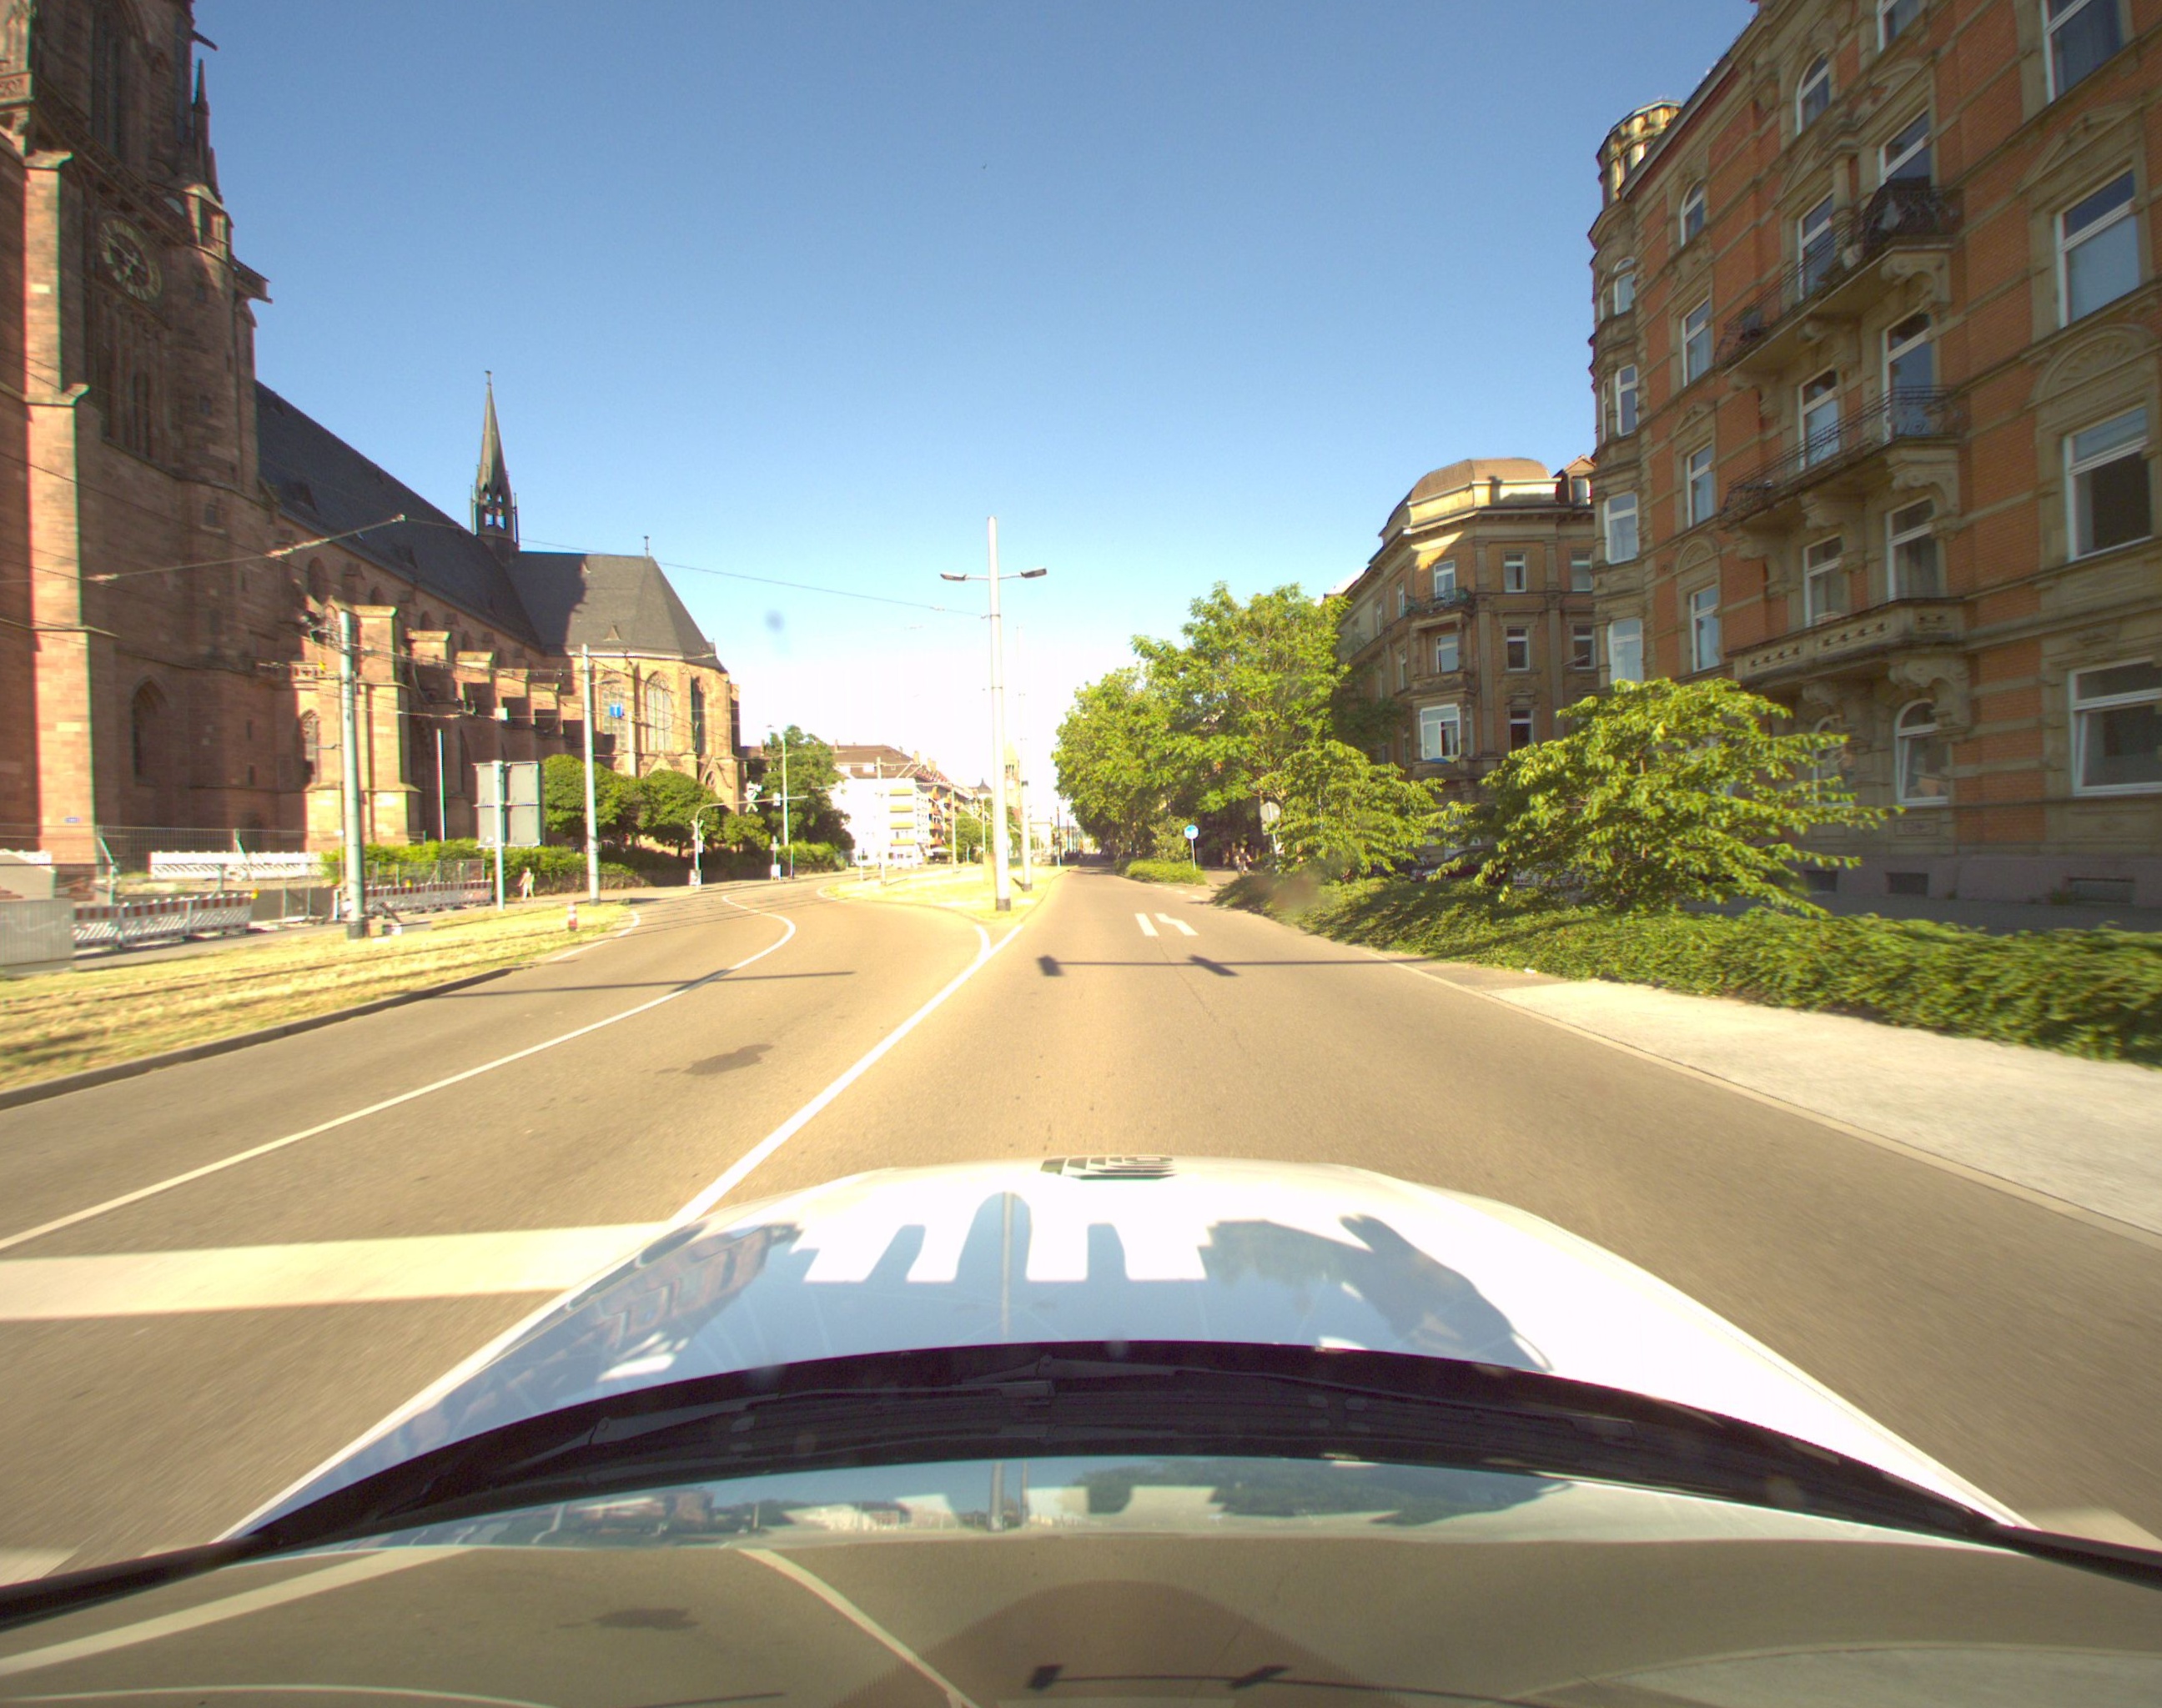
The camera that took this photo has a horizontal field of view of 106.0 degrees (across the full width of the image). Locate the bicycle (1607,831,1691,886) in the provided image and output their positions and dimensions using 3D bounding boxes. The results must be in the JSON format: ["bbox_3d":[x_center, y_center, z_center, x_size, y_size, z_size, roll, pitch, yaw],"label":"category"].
[{"bbox_3d":[13.978,0.111,20.040,1.884,1.239,0.488,-3,-1,-12],"label":"bicycle"}]

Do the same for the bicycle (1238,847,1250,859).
[{"bbox_3d":[11.885,-0.079,59.376,0.766,0.854,0.375,-3,3,-3],"label":"bicycle"}]

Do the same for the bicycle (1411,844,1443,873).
[{"bbox_3d":[14.460,0.169,34.090,0.516,1.047,1.821,-3,3,0],"label":"bicycle"}]

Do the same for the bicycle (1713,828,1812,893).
[{"bbox_3d":[14.455,0.131,17.269,1.884,1.239,0.488,-3,-1,-12],"label":"bicycle"}]

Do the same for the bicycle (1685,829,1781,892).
[{"bbox_3d":[14.251,0.140,17.808,1.884,1.239,0.488,-3,-1,-12],"label":"bicycle"}]

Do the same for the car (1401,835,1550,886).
[{"bbox_3d":[13.450,0.193,27.942,4.237,1.415,1.813,-3,3,0],"label":"car"}]

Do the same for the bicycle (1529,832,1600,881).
[{"bbox_3d":[12.853,0.075,21.731,0.489,1.239,1.884,-3,-1,-8],"label":"bicycle"}]

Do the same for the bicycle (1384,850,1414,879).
[{"bbox_3d":[13.296,0.408,34.052,0.516,1.047,1.821,-3,3,0],"label":"bicycle"}]

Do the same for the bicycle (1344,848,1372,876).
[{"bbox_3d":[11.569,0.315,34.013,0.516,1.047,1.821,-3,3,0],"label":"bicycle"}]

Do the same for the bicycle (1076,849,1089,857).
[{"bbox_3d":[0.183,-0.177,124.074,1.813,1.047,0.572,-4,3,-8],"label":"bicycle"}]

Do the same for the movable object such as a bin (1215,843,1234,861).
[{"bbox_3d":[11.212,-0.165,63.668,1.228,1.382,1.257,-3,1,0],"label":"movable object such as a bin"}]

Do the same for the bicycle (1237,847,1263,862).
[{"bbox_3d":[11.440,0.016,55.223,1.646,0.924,0.539,-3,3,1],"label":"bicycle"}]

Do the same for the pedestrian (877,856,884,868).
[{"bbox_3d":[-26.539,1.049,107.843,0.587,1.467,0.917,-3,3,1],"label":"pedestrian"}]

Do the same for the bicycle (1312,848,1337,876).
[{"bbox_3d":[10.474,0.315,35.062,0.516,1.047,1.821,-3,3,0],"label":"bicycle"}]

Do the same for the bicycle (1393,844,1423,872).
[{"bbox_3d":[13.927,0.161,34.730,0.516,1.047,1.821,-3,3,0],"label":"bicycle"}]

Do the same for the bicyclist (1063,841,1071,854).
[{"bbox_3d":[-2.110,-0.943,121.613,1.137,1.890,0.682,-3,3,0],"label":"bicyclist"}]

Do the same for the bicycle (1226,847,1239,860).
[{"bbox_3d":[11.037,-0.058,59.336,0.766,0.854,0.375,-3,3,-3],"label":"bicycle"}]

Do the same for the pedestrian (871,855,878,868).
[{"bbox_3d":[-27.321,1.031,107.702,0.641,1.598,0.898,-3,3,1],"label":"pedestrian"}]

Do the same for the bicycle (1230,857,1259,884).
[{"bbox_3d":[6.577,0.652,32.866,0.639,1.048,2.360,-3,0,0],"label":"bicycle"}]

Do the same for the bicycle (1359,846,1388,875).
[{"bbox_3d":[12.207,0.257,34.016,0.516,1.047,1.821,-3,3,0],"label":"bicycle"}]

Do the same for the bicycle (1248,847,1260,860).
[{"bbox_3d":[12.627,-0.031,59.364,0.766,0.854,0.375,-3,3,-3],"label":"bicycle"}]

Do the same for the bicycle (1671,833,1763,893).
[{"bbox_3d":[14.381,0.202,18.424,1.884,1.239,0.488,-3,-1,-12],"label":"bicycle"}]

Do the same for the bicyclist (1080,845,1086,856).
[{"bbox_3d":[0.268,-0.533,124.080,0.748,1.557,0.572,-4,3,-7],"label":"bicyclist"}]

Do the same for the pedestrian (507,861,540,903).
[{"bbox_3d":[-25.009,1.233,36.530,0.726,1.773,0.863,-3,3,-2],"label":"pedestrian"}]

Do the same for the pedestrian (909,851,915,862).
[{"bbox_3d":[-24.808,0.386,119.653,0.592,1.467,0.908,-5,4,-29],"label":"pedestrian"}]

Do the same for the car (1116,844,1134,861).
[{"bbox_3d":[4.432,-0.179,82.544,1.637,1.511,4.184,-3,1,2],"label":"car"}]

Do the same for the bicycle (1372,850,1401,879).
[{"bbox_3d":[12.765,0.410,34.046,0.516,1.047,1.821,-3,3,0],"label":"bicycle"}]

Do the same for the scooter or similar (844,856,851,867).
[{"bbox_3d":[-28.910,0.893,100.908,0.400,1.261,1.231,-3,3,2],"label":"scooter or similar"}]

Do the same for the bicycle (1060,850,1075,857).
[{"bbox_3d":[-2.052,-0.087,121.672,2.234,0.976,0.682,-2,3,0],"label":"bicycle"}]

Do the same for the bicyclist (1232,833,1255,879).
[{"bbox_3d":[6.555,0.082,32.875,0.639,1.814,1.052,-3,-1,0],"label":"bicyclist"}]

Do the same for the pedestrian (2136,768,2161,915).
[{"bbox_3d":[14.574,-0.178,10.352,0.819,1.930,1.137,-2,0,1],"label":"pedestrian"}]

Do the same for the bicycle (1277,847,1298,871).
[{"bbox_3d":[9.954,0.225,39.294,0.524,0.988,1.722,-3,3,-1],"label":"bicycle"}]

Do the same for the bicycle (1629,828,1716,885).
[{"bbox_3d":[14.148,0.060,19.489,1.884,1.239,0.488,-3,-1,-12],"label":"bicycle"}]
